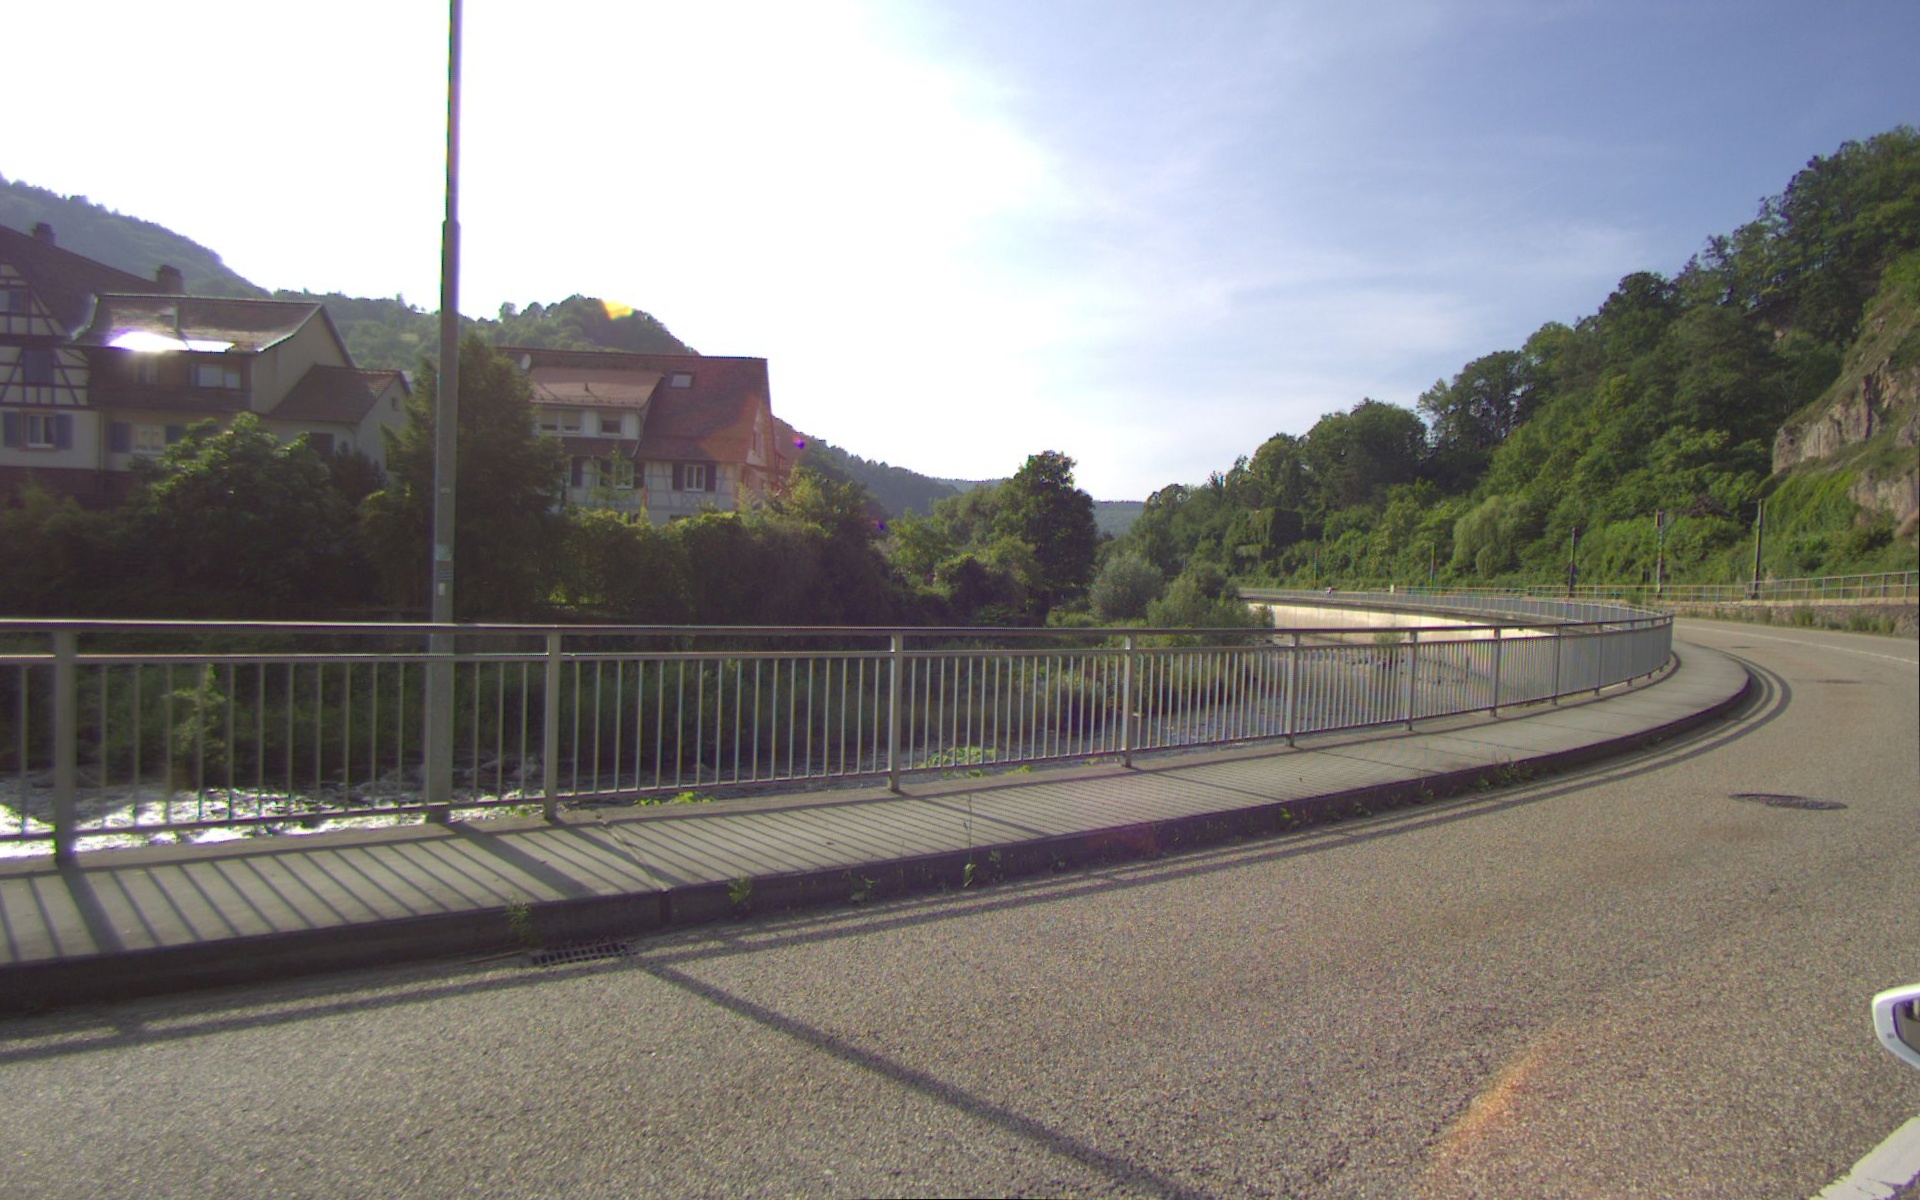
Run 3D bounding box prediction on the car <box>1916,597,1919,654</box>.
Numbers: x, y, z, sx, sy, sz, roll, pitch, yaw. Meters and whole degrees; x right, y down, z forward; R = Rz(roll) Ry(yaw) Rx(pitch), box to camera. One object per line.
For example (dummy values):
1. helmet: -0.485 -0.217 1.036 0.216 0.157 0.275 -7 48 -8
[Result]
1. car: 28.755 0.801 28.256 1.846 1.678 3.991 0 1 31
